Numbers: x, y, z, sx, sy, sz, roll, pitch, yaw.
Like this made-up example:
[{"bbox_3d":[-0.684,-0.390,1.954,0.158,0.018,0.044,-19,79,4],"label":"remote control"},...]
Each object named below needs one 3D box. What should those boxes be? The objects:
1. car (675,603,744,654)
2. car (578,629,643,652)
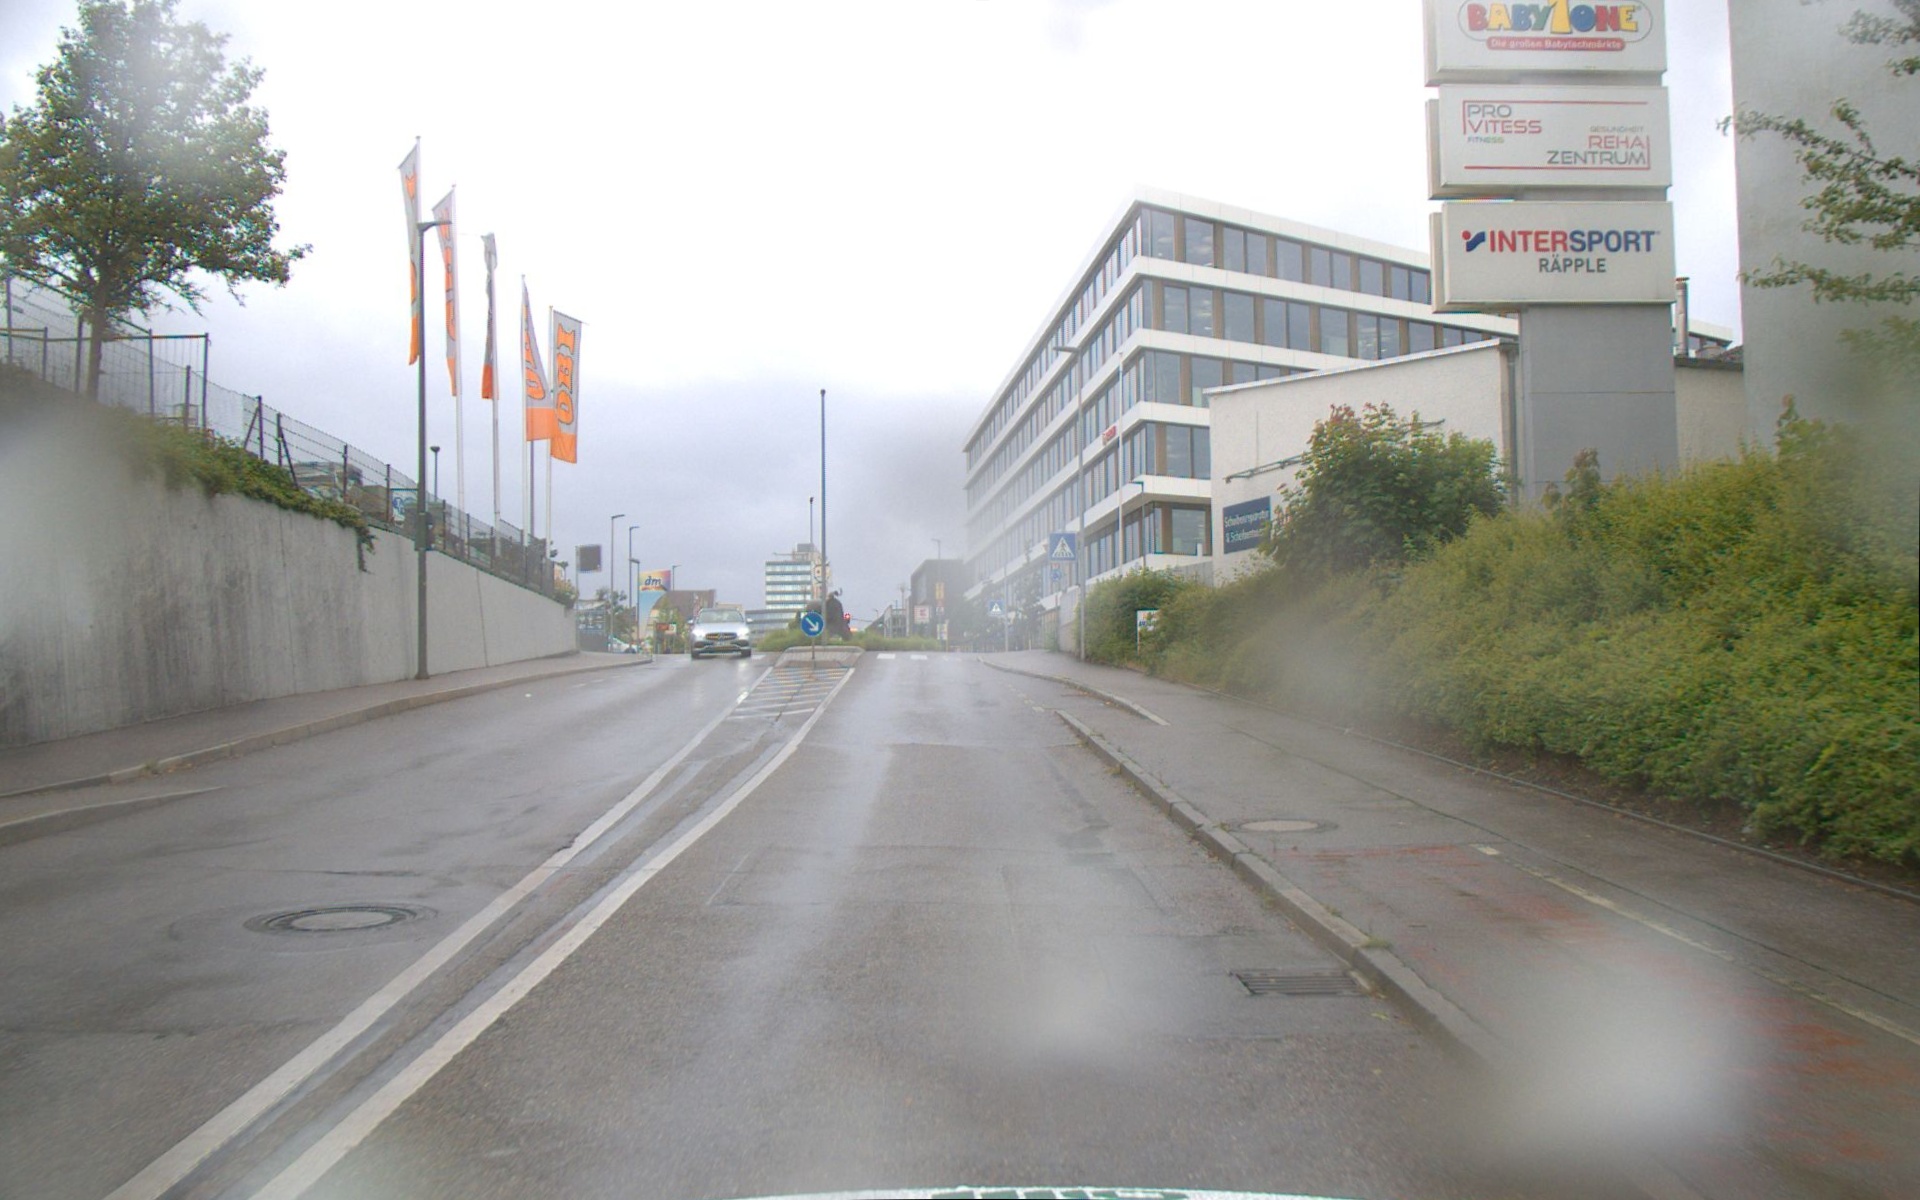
[{"bbox_3d":[-7.728,0.842,50.725,1.965,1.451,4.770,0,0,-10],"label":"car"},{"bbox_3d":[-23.469,2.741,111.146,3.980,1.445,1.750,2,-4,-31],"label":"car"}]
